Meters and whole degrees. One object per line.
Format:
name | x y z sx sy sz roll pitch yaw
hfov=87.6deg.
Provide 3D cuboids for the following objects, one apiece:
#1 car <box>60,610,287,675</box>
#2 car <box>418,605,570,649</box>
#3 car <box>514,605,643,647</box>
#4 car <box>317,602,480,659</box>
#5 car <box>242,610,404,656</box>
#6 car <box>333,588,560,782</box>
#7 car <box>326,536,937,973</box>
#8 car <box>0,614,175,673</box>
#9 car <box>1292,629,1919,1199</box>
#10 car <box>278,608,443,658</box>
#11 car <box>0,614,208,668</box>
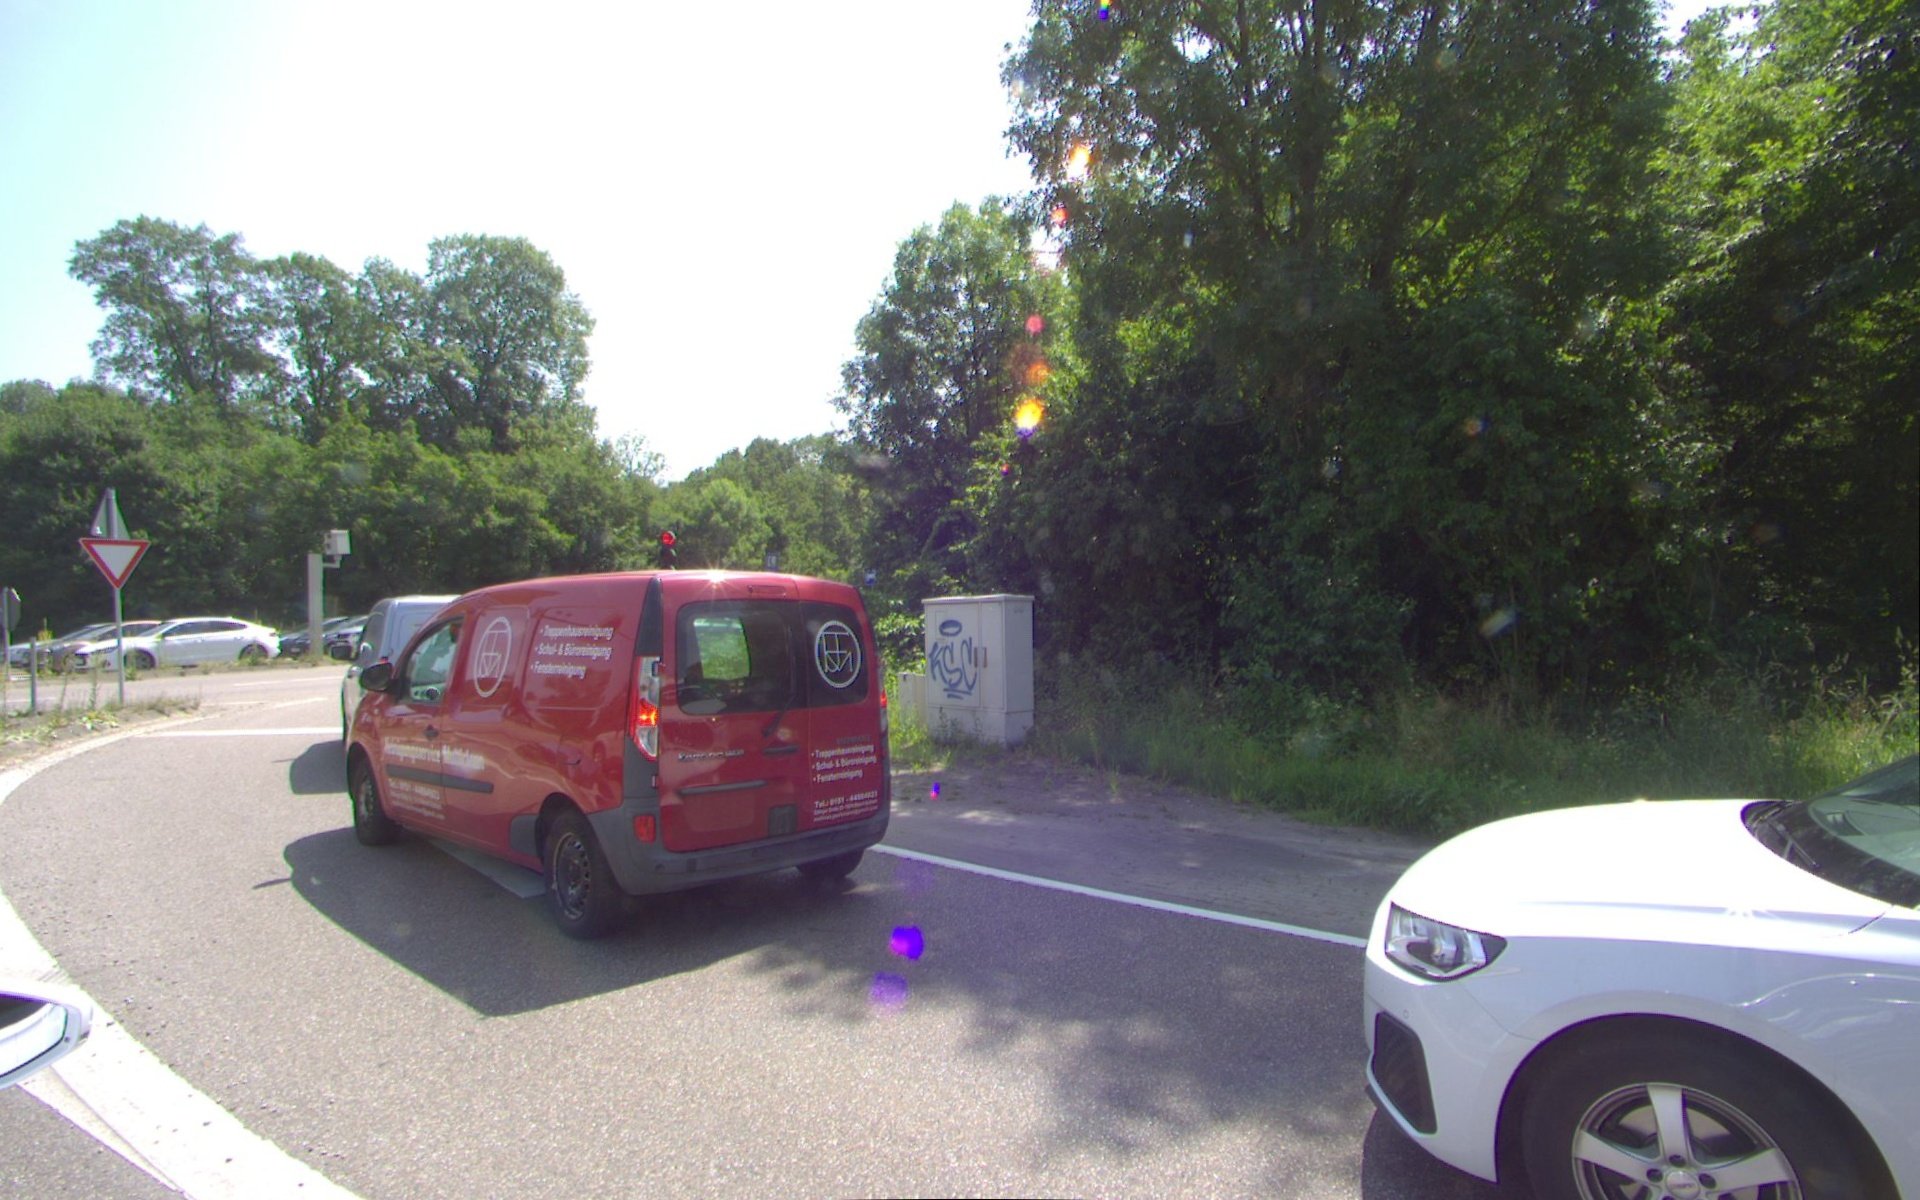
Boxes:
car | -21.113 1.086 27.100 1.970 1.555 4.413 -1 0 30
car | -18.262 1.033 39.530 2.107 1.554 5.118 -2 0 31
car | -14.507 0.960 38.289 1.946 1.433 4.321 -1 0 32
car | -18.142 0.944 32.537 1.971 1.681 4.164 -1 0 31
car | -23.328 1.193 36.858 2.082 1.518 4.608 -1 0 31
car | -6.001 0.812 11.450 1.740 1.797 4.084 0 0 -35
car | -2.358 0.703 6.407 4.447 1.846 1.782 -1 -2 43
car | -24.923 1.179 28.136 1.965 1.466 4.086 -1 0 29
car | 2.924 0.809 2.090 3.946 1.453 1.686 -1 -3 35
car | -20.514 1.088 34.451 2.091 1.555 4.411 -2 0 31
car | -27.002 1.248 31.530 1.992 1.518 4.922 -2 -1 32
